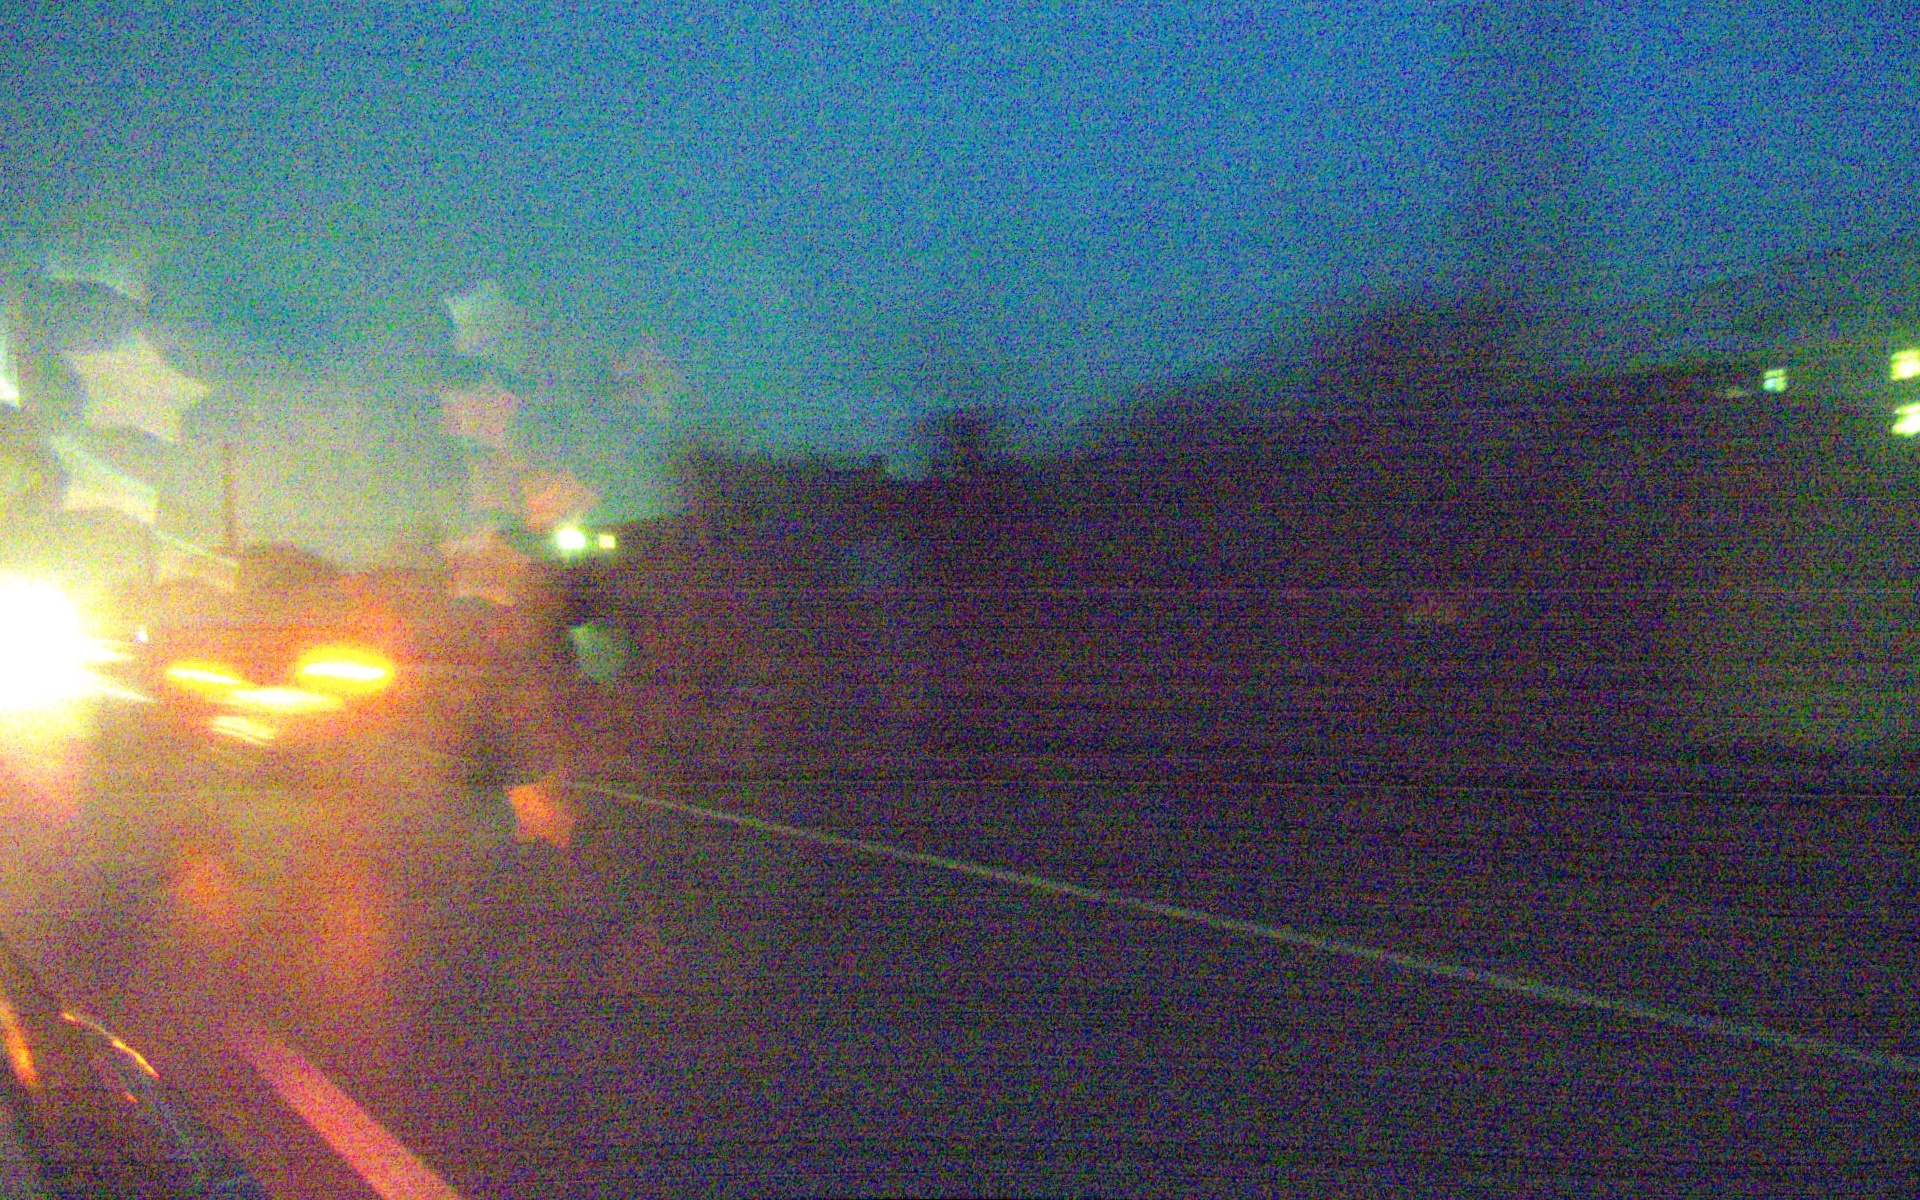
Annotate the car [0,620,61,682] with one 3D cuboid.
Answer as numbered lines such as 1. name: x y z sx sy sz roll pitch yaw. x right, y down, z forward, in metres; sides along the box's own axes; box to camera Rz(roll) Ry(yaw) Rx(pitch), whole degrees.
1. car: -24.778 1.292 26.173 4.351 1.494 1.813 -1 -1 42

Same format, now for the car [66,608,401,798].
1. car: -7.340 0.860 10.076 4.067 1.494 1.814 -1 -1 41
